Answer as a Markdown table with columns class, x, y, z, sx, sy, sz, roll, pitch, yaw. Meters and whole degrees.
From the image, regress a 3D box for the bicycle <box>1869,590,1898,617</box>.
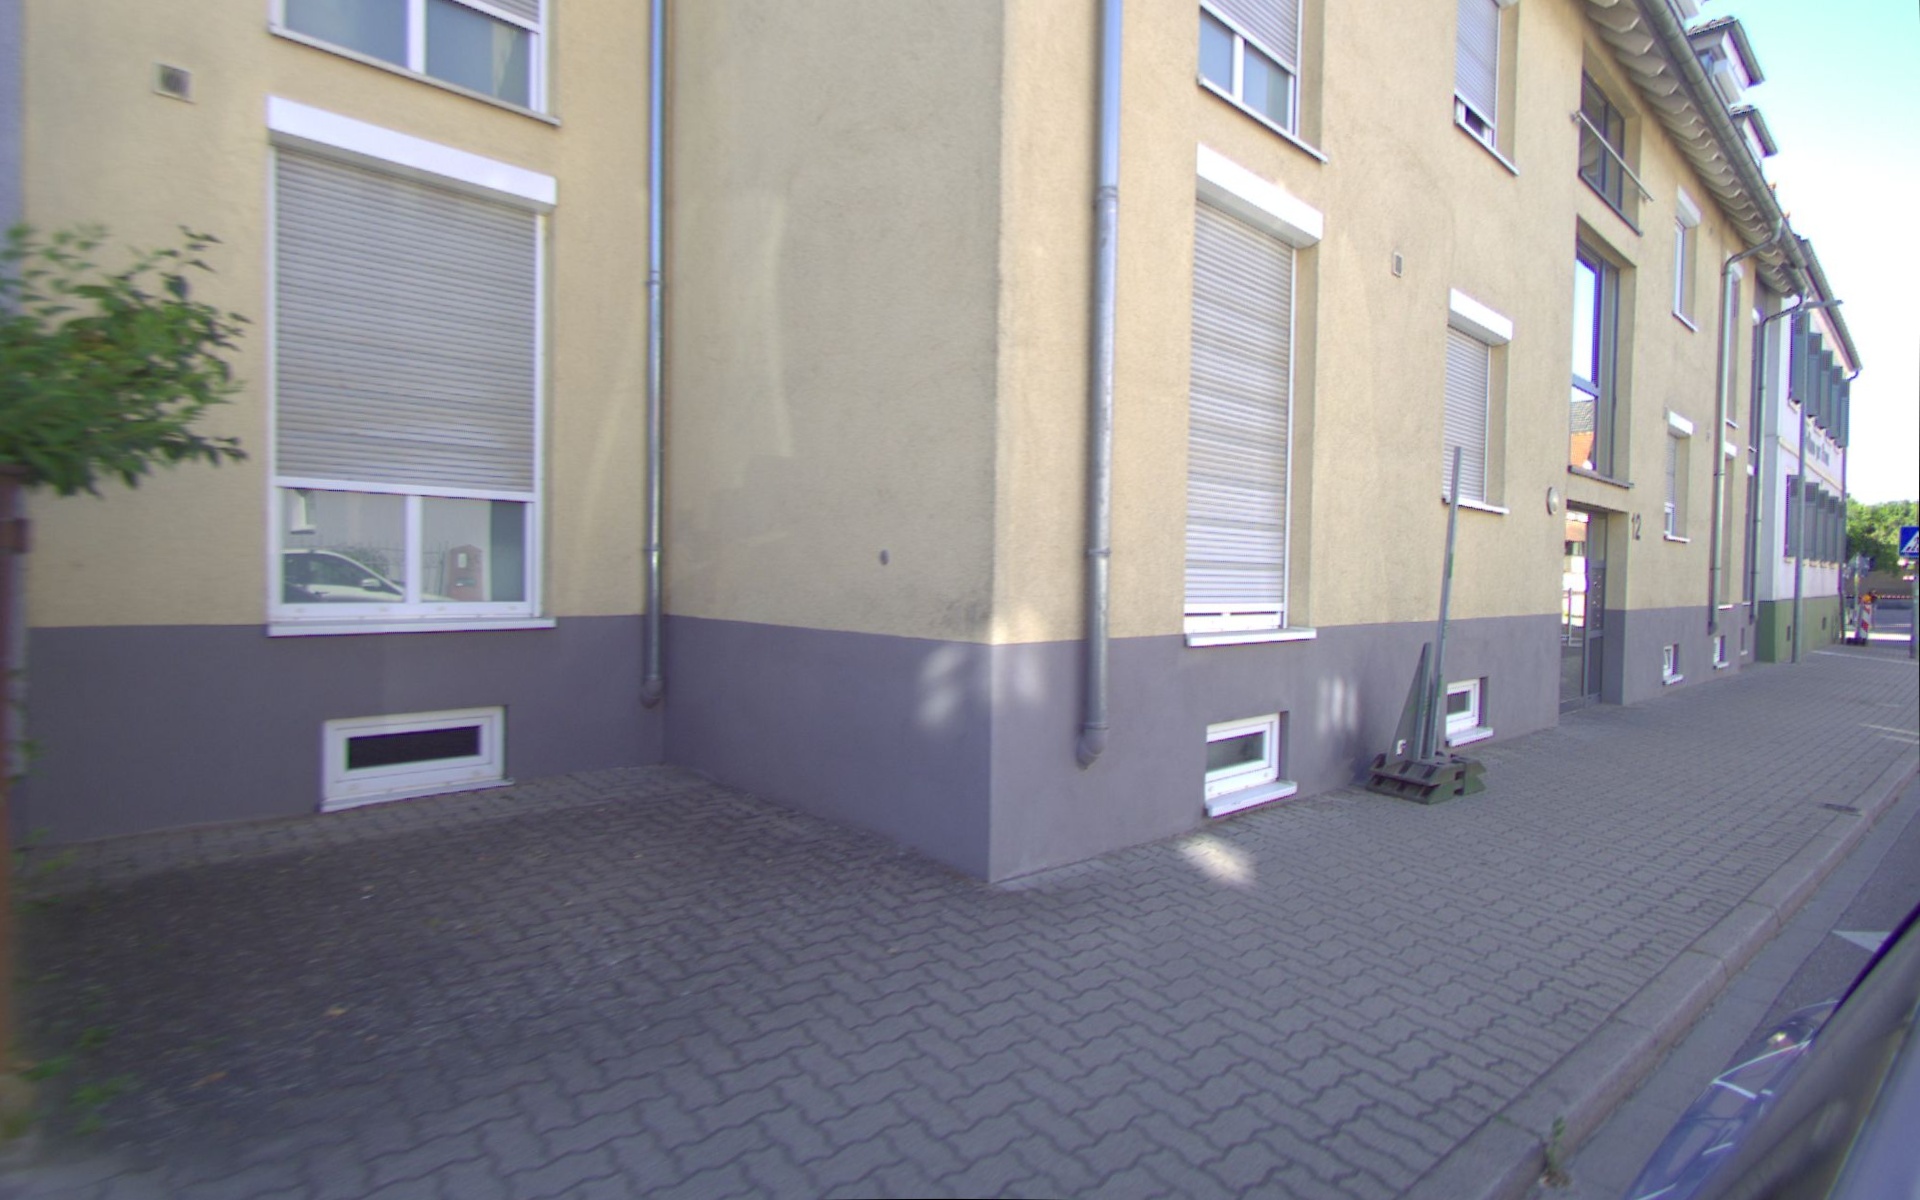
| class | x | y | z | sx | sy | sz | roll | pitch | yaw |
| --- | --- | --- | --- | --- | --- | --- | --- | --- | --- |
| bicycle | 56.728 | 0.224 | 62.145 | 1.253 | 1.571 | 3.939 | -1 | 0 | 42 |

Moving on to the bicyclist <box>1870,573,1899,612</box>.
| class | x | y | z | sx | sy | sz | roll | pitch | yaw |
| --- | --- | --- | --- | --- | --- | --- | --- | --- | --- |
| bicyclist | 56.788 | -0.464 | 62.200 | 1.253 | 2.337 | 1.224 | -1 | 0 | 43 |
